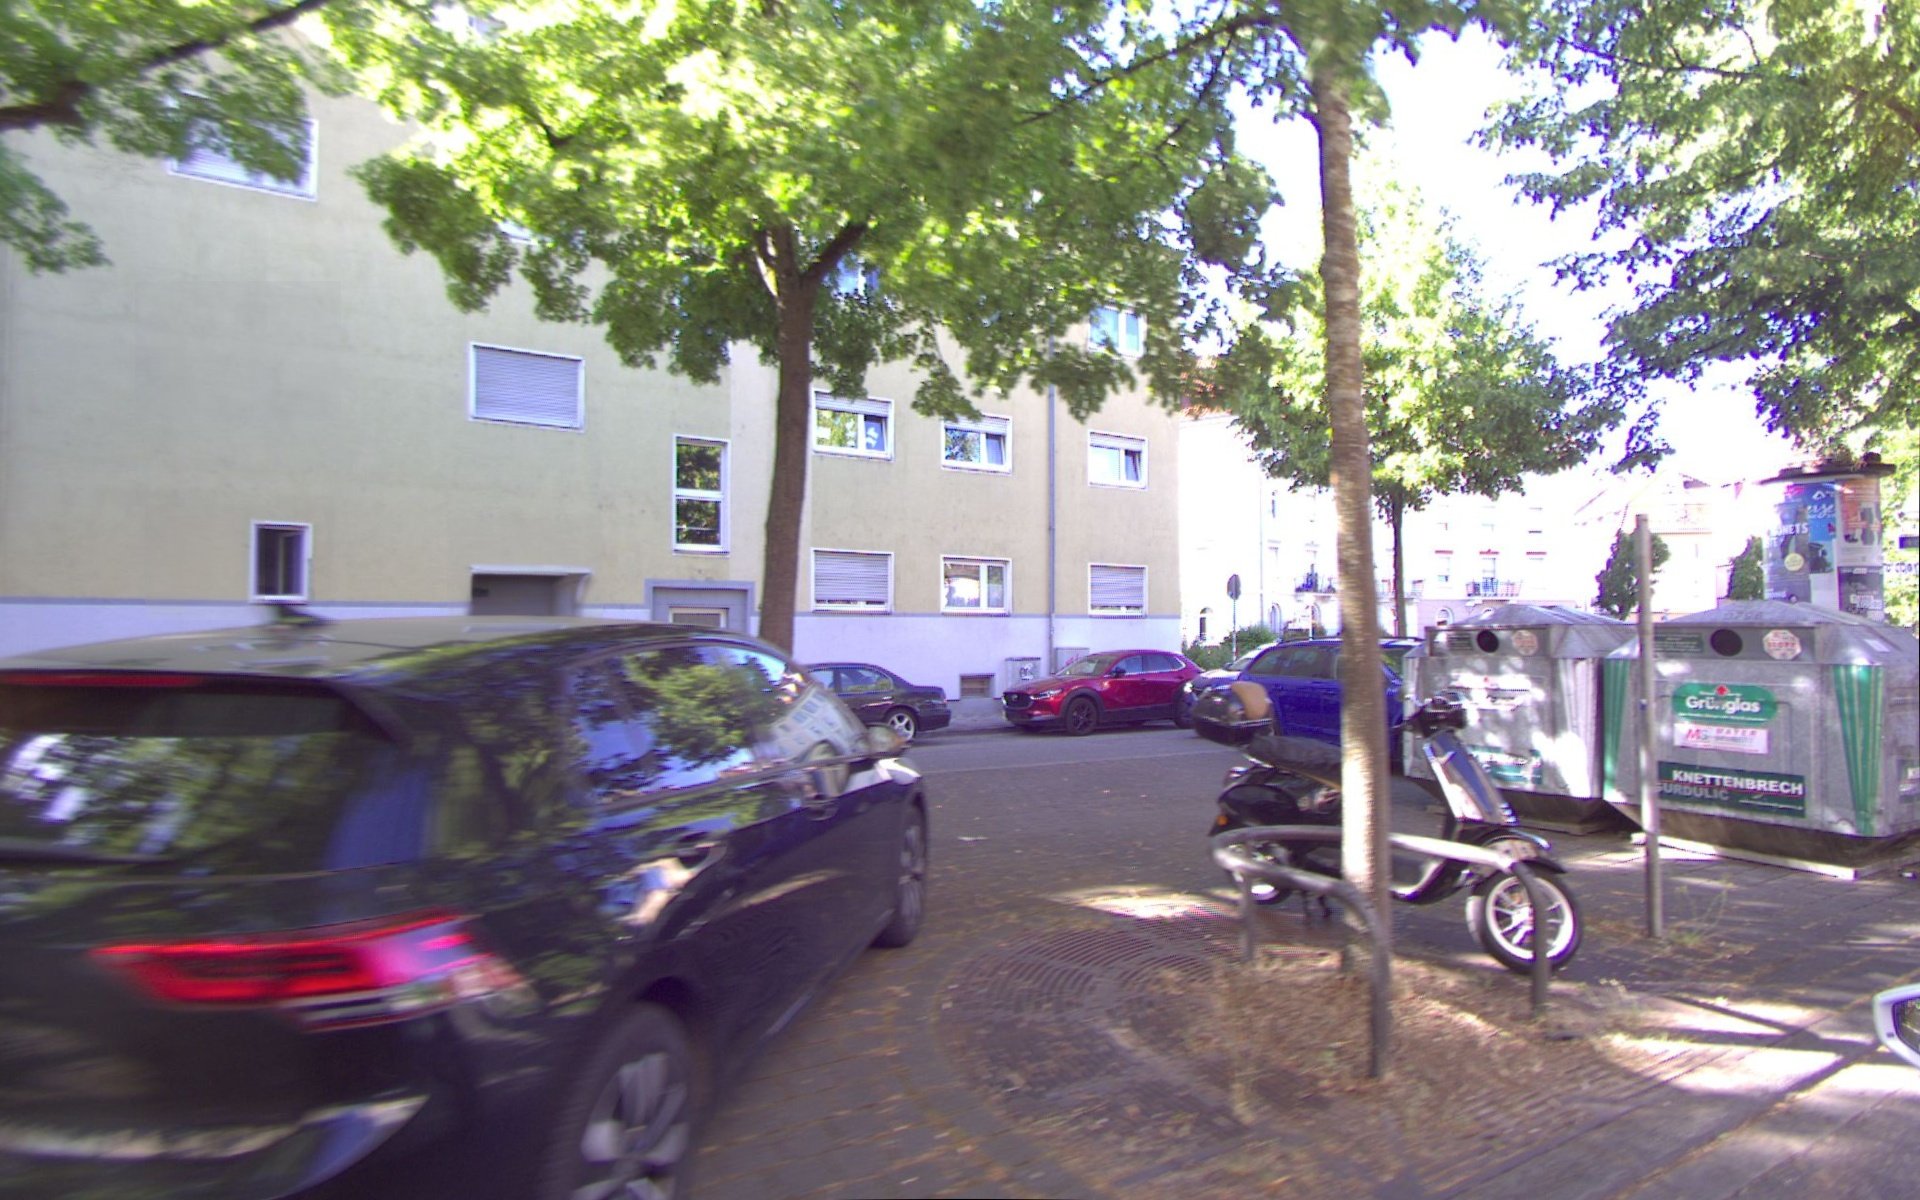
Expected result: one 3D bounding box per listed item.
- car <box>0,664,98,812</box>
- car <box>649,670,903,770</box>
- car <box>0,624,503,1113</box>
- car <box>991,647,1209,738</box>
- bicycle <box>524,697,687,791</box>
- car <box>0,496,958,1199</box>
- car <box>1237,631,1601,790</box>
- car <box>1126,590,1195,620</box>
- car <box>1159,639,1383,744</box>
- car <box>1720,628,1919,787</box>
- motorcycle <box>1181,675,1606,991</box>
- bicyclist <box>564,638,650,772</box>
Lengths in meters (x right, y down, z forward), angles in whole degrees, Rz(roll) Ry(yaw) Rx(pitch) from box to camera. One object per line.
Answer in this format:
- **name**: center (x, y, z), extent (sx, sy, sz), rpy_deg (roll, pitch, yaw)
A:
- **car**: center (-11.800, 1.452, 10.401), extent (4.102, 1.514, 1.763), rpy_deg (2, -3, -34)
- **car**: center (-2.853, 1.805, 15.698), extent (3.599, 1.338, 1.578), rpy_deg (1, -5, -31)
- **car**: center (-4.091, 0.932, 5.262), extent (1.832, 1.486, 4.098), rpy_deg (2, 0, -6)
- **car**: center (2.716, 1.683, 19.101), extent (4.121, 1.546, 1.521), rpy_deg (1, -3, -33)
- **bicycle**: center (-4.518, 1.804, 12.847), extent (1.892, 1.048, 0.597), rpy_deg (1, -3, -30)
- **car**: center (-1.277, 0.766, 3.329), extent (1.796, 1.574, 4.158), rpy_deg (-1, -3, 11)
- **car**: center (4.957, 1.147, 11.472), extent (1.619, 1.485, 3.786), rpy_deg (0, -3, -18)
- **car**: center (10.780, 0.299, 53.982), extent (3.340, 1.485, 1.487), rpy_deg (-2, -3, 25)
- **car**: center (5.442, 1.513, 17.407), extent (3.964, 1.601, 1.735), rpy_deg (1, -4, -38)
- **car**: center (10.169, 1.080, 10.569), extent (1.740, 1.501, 4.145), rpy_deg (1, -2, 10)
- **motorcycle**: center (1.970, 0.985, 4.902), extent (0.513, 1.186, 1.928), rpy_deg (1, -3, -33)
- **bicyclist**: center (-4.518, 1.307, 12.841), extent (0.917, 1.643, 0.712), rpy_deg (1, -2, -30)
